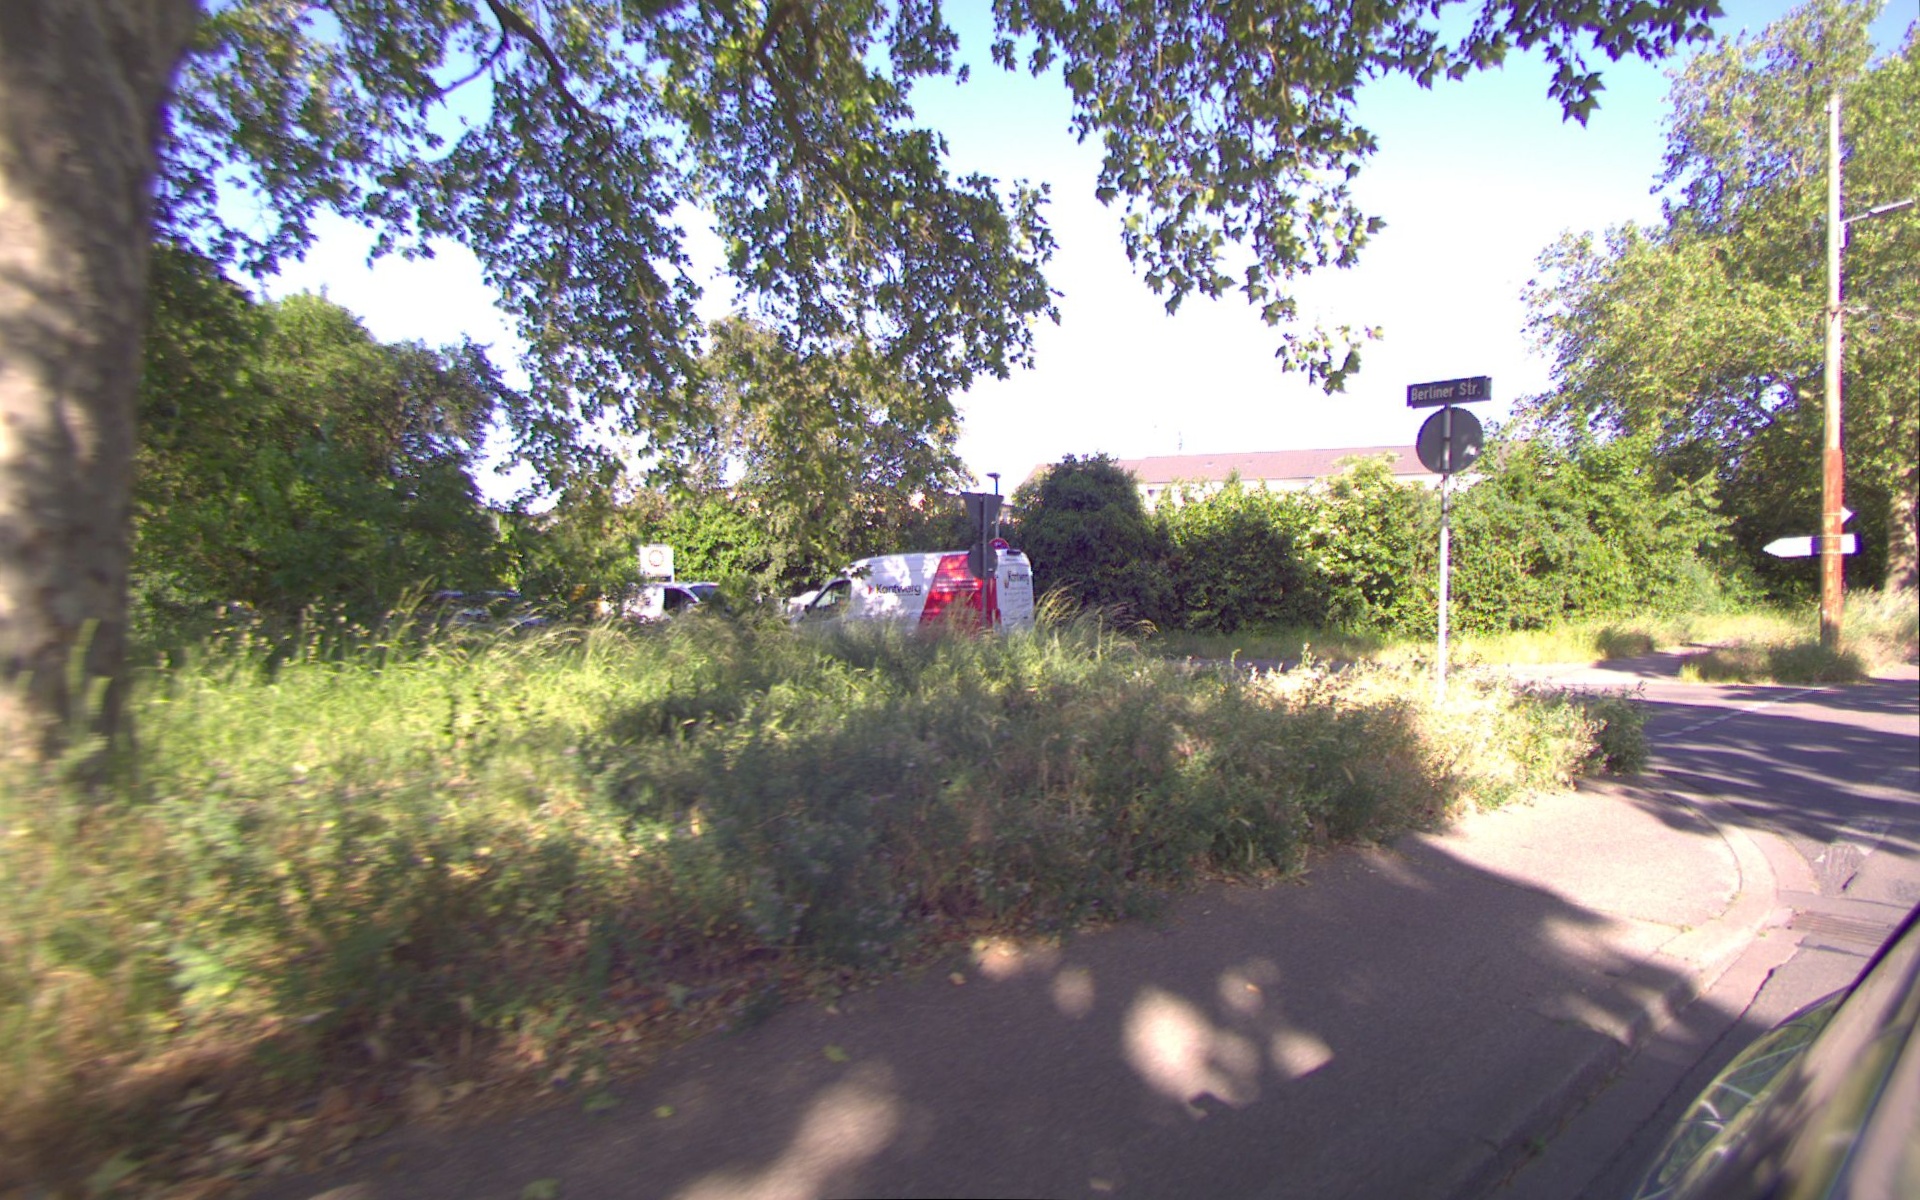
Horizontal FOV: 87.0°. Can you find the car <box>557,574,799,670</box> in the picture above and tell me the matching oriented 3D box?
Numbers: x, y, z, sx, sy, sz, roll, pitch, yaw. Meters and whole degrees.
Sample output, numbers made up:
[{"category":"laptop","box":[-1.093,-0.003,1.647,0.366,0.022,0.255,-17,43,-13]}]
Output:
[{"category":"car","box":[-6.415,0.483,22.967,5.096,1.967,2.273,-1,0,26]}]

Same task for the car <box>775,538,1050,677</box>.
[{"category":"car","box":[-0.956,0.173,20.103,4.949,2.470,2.309,-1,0,26]}]

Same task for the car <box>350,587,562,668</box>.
[{"category":"car","box":[-12.950,0.683,25.986,5.096,1.898,2.273,-1,0,26]}]
